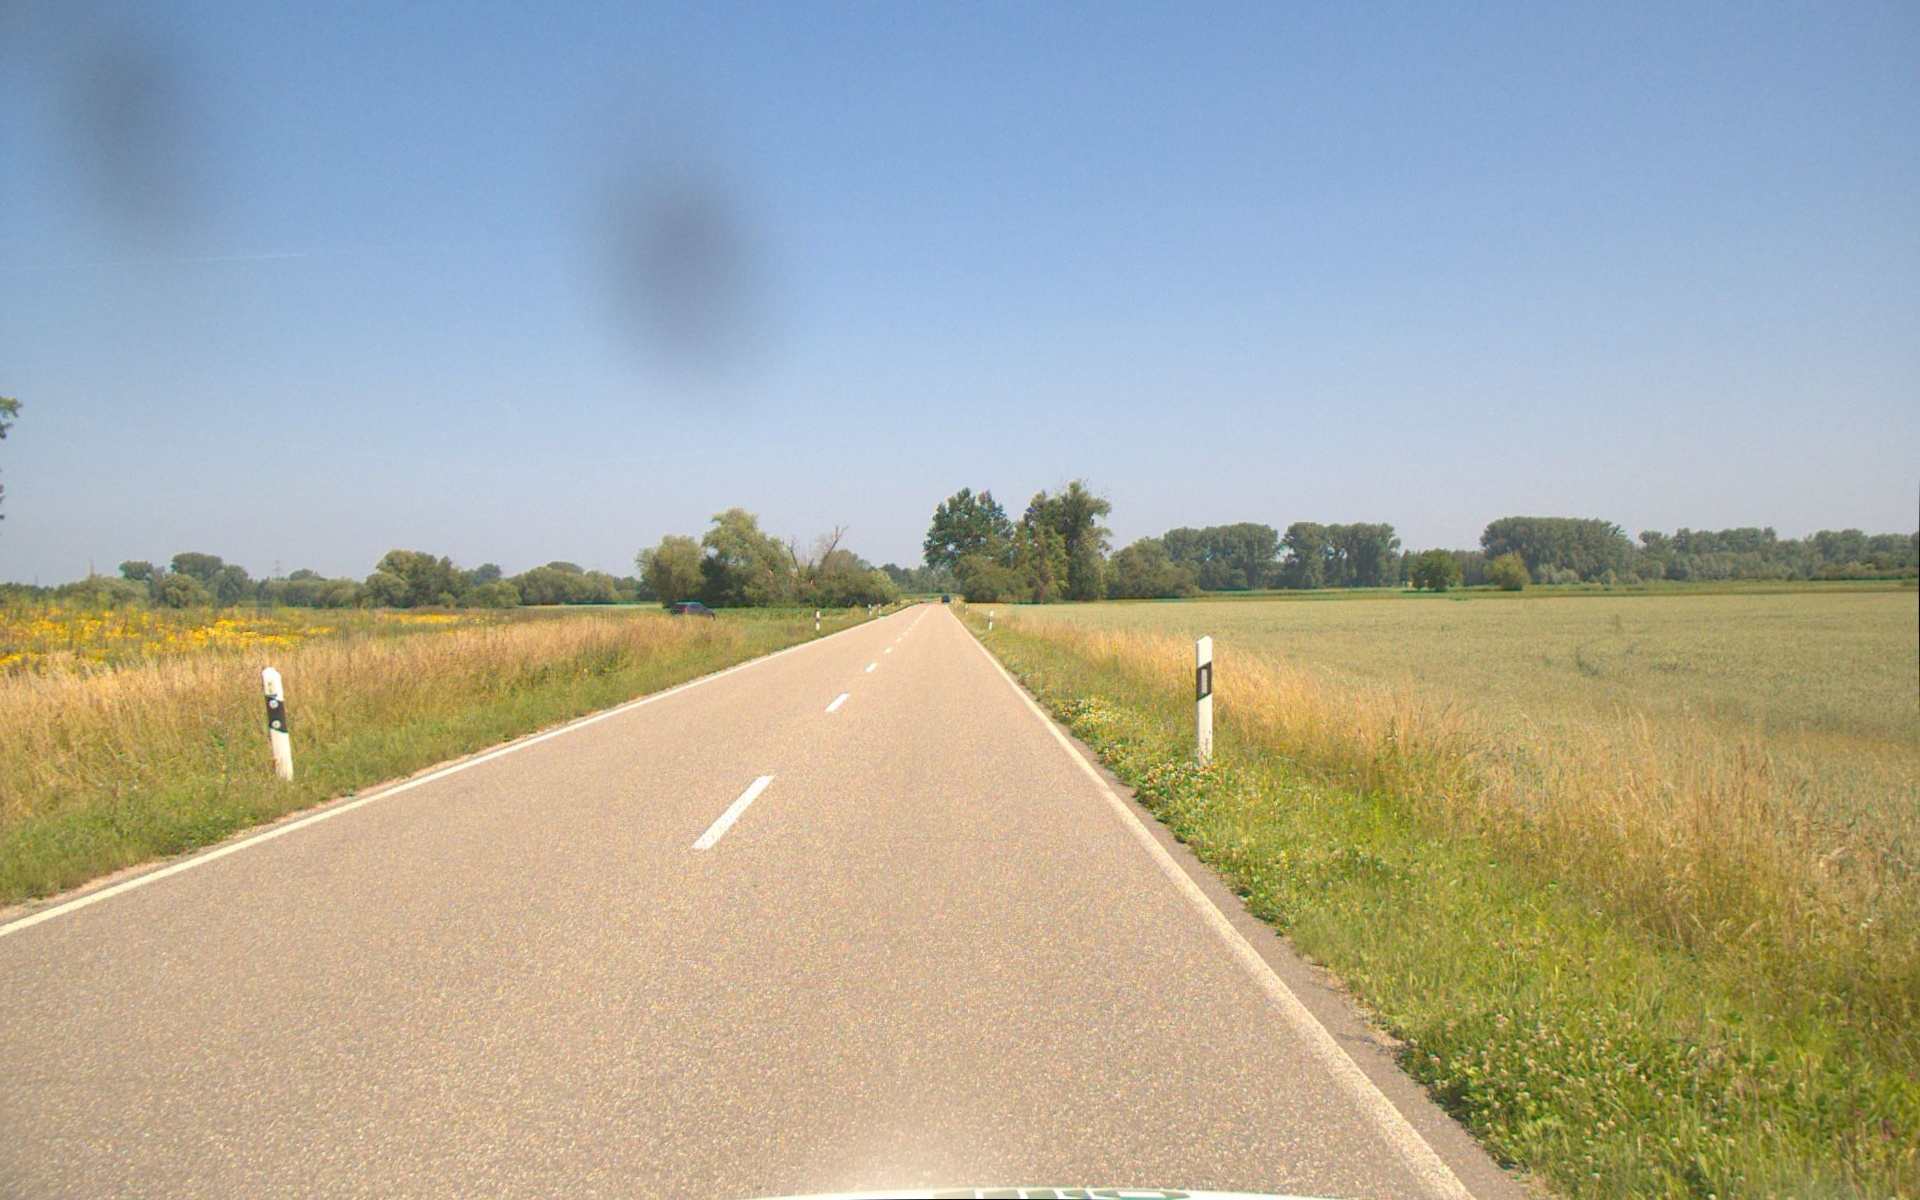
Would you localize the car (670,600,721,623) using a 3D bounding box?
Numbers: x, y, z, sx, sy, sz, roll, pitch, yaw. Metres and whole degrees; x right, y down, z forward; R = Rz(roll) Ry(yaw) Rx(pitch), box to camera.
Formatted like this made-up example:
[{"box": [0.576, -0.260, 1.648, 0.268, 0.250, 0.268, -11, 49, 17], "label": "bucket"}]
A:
[{"box": [-20.444, 0.851, 127.948, 1.718, 1.680, 4.527, -1, 0, 25], "label": "car"}]
